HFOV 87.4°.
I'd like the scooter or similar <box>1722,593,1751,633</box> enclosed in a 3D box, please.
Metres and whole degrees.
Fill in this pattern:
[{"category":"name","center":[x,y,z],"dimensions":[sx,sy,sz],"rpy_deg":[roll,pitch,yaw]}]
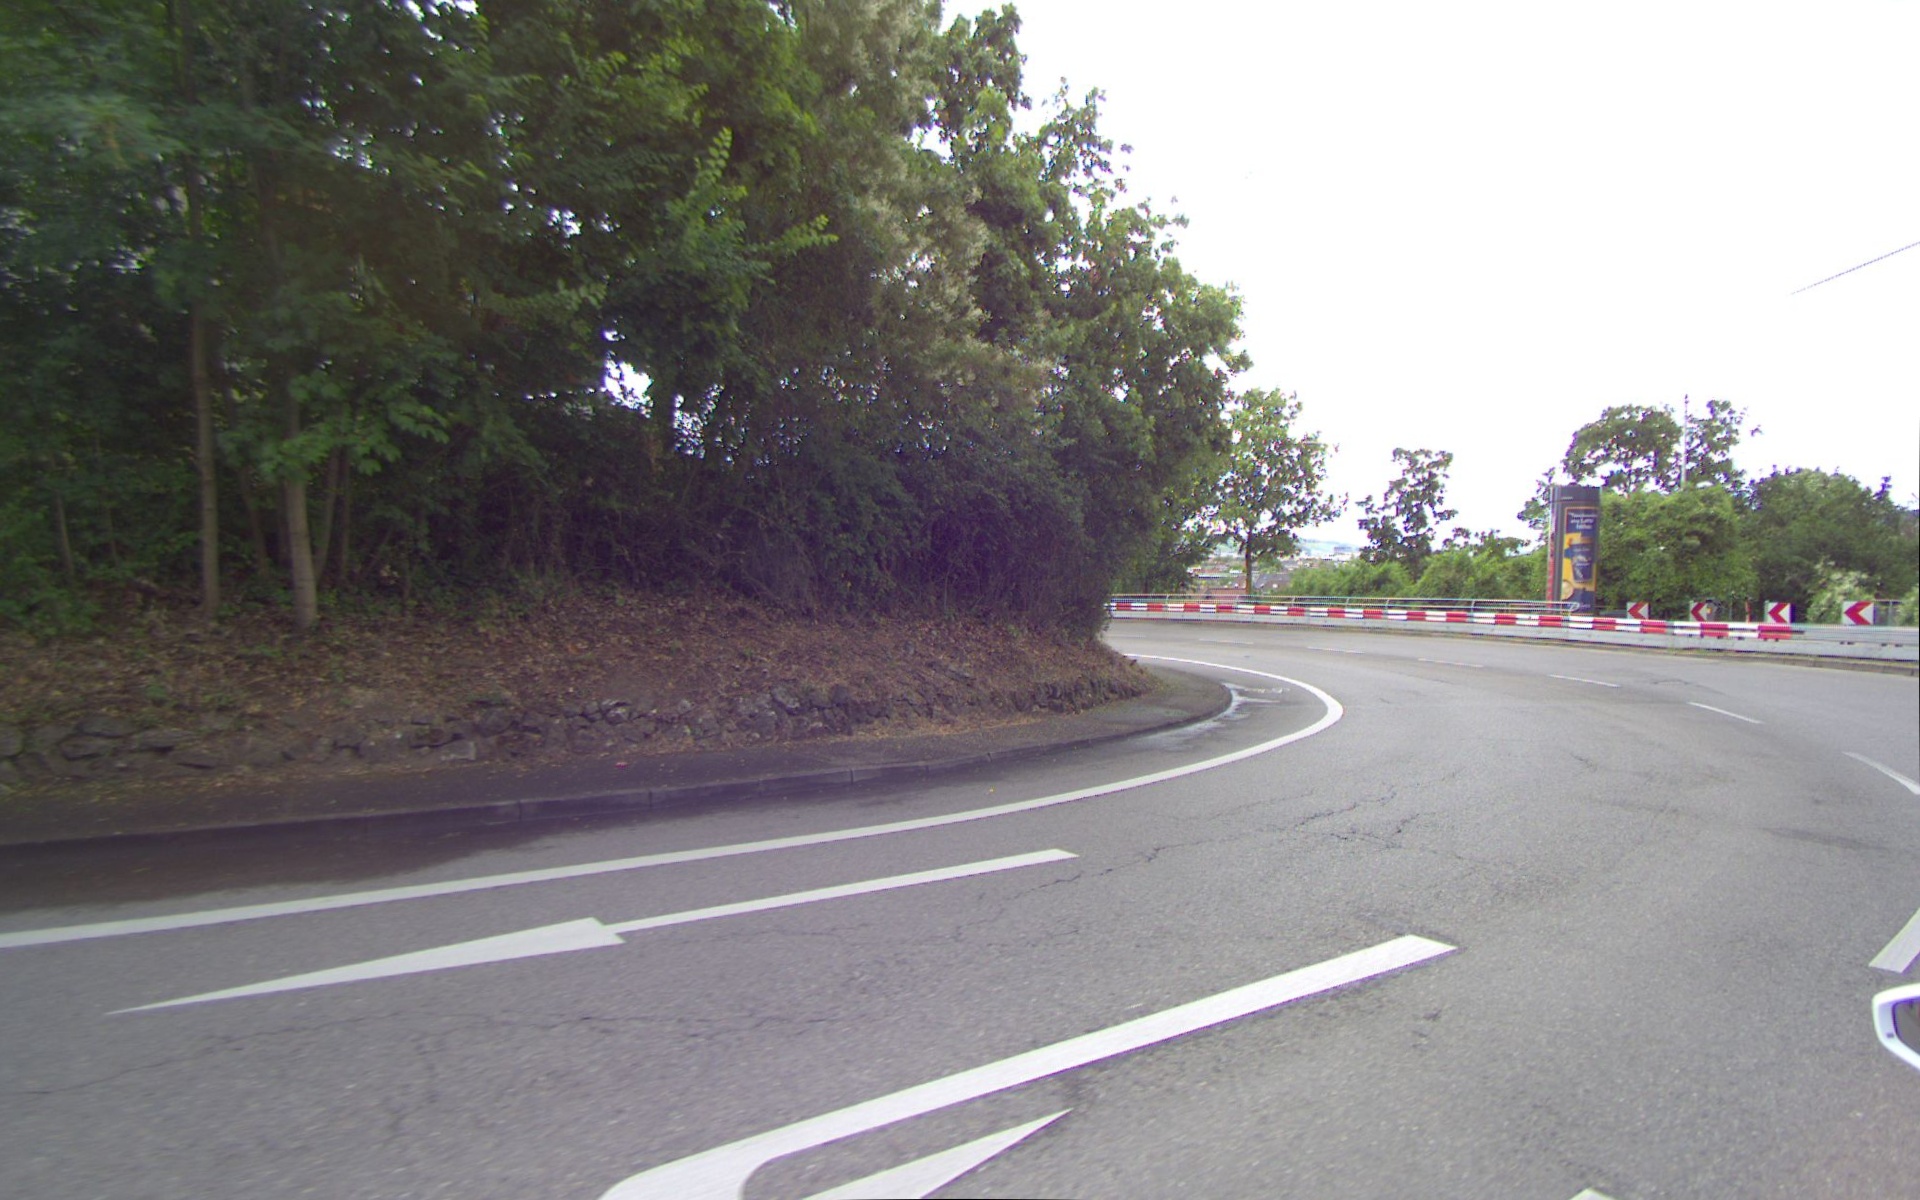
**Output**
[{"category":"scooter or similar","center":[25.422,0.398,32.879],"dimensions":[1.488,1.267,0.431],"rpy_deg":[-1,2,-40]}]
